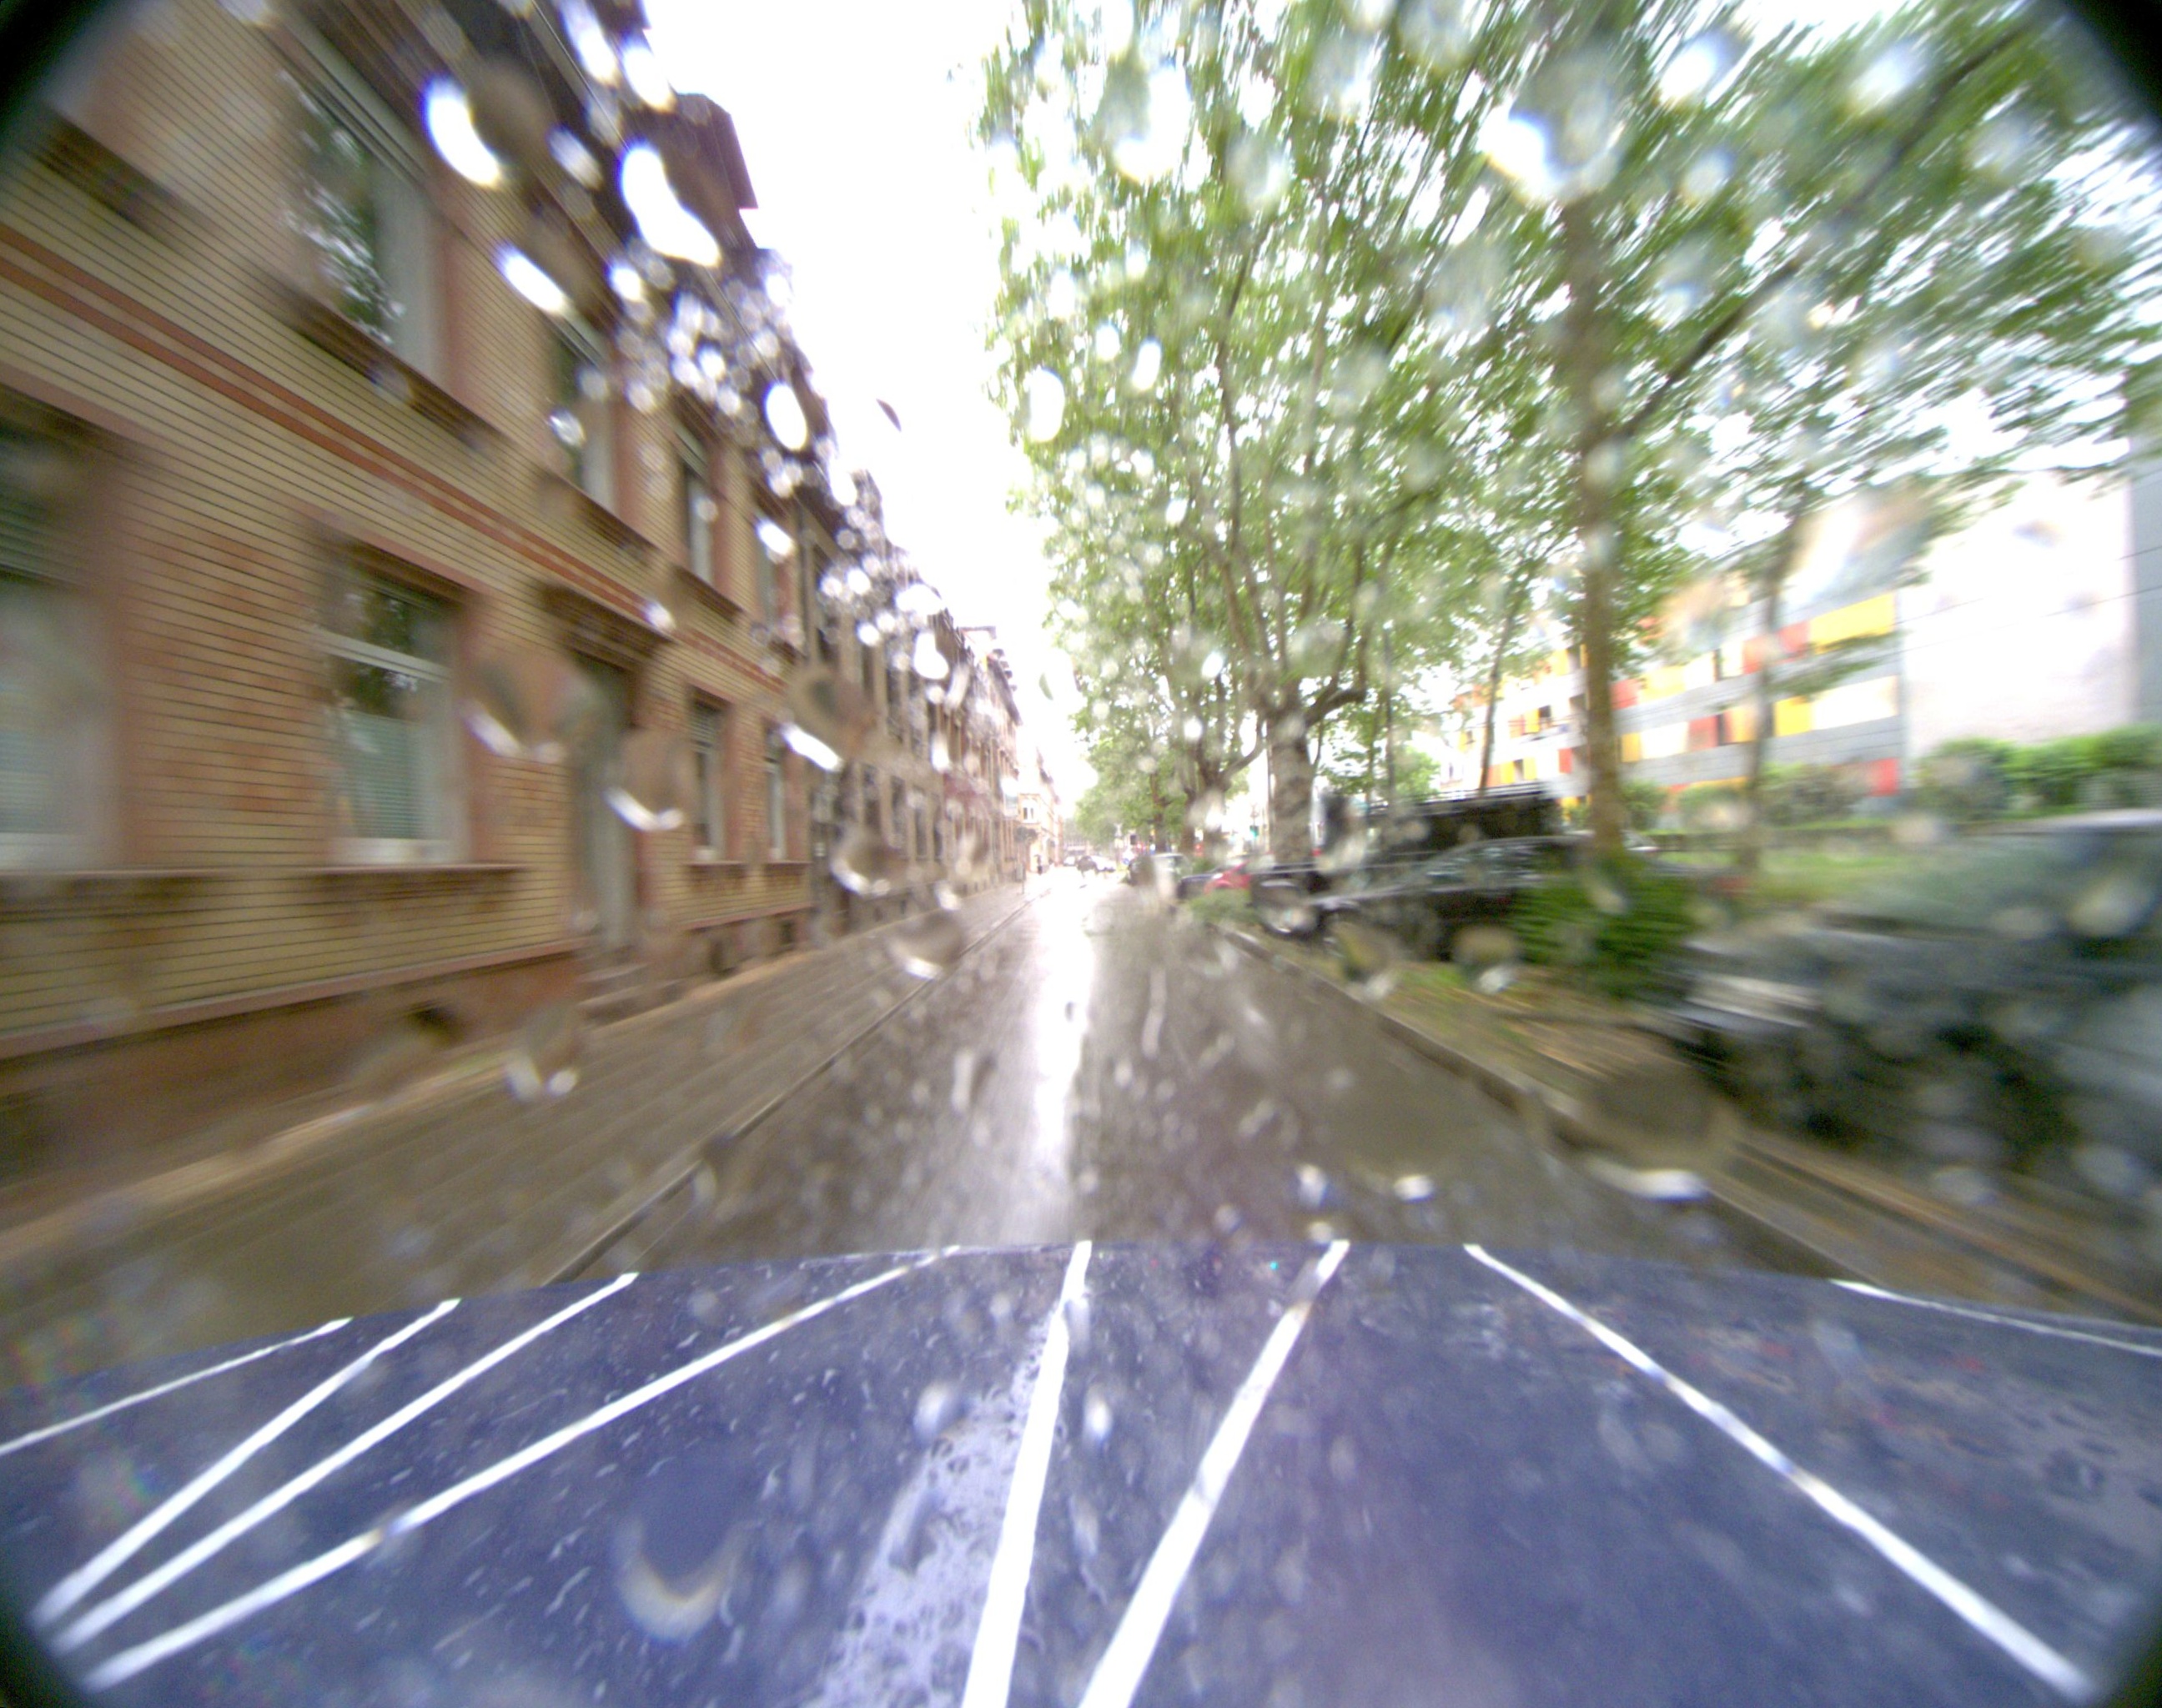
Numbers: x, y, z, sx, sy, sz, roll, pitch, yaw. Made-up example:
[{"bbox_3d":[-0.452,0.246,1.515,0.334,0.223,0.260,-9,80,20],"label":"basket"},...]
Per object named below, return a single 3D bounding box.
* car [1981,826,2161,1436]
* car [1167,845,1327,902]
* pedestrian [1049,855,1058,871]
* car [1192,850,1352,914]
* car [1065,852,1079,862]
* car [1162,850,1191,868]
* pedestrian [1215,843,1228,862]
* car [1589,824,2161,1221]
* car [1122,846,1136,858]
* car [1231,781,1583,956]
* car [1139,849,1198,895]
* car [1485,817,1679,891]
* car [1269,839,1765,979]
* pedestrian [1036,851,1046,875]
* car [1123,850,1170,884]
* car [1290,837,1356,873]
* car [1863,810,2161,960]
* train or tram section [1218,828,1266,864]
[{"bbox_3d":[4.374,0.603,0.748,4.056,1.528,1.838,-4,0,26],"label":"car"},{"bbox_3d":[4.670,0.542,21.368,4.037,1.426,1.784,-2,1,25],"label":"car"},{"bbox_3d":[-2.752,0.892,76.268,0.849,1.564,0.576,2,1,1],"label":"pedestrian"},{"bbox_3d":[4.742,0.700,18.874,3.494,1.428,1.784,-2,1,28],"label":"car"},{"bbox_3d":[-1.419,0.471,120.529,1.976,1.359,4.162,2,0,3],"label":"car"},{"bbox_3d":[7.974,0.437,63.824,1.838,1.411,4.000,-3,0,-1],"label":"car"},{"bbox_3d":[13.458,-0.155,72.910,0.938,1.790,1.206,-3,1,0],"label":"pedestrian"},{"bbox_3d":[4.642,0.618,3.494,3.504,1.459,1.644,-2,1,19],"label":"car"},{"bbox_3d":[7.765,-0.344,122.123,1.937,1.839,4.066,-3,0,1],"label":"car"},{"bbox_3d":[4.974,0.244,11.904,4.648,2.270,2.015,-2,1,30],"label":"car"},{"bbox_3d":[3.316,0.646,29.427,1.733,1.506,4.207,-4,0,0],"label":"car"},{"bbox_3d":[12.162,-0.005,18.838,1.909,1.525,4.215,-3,0,-1],"label":"car"},{"bbox_3d":[4.825,0.585,9.084,4.648,1.318,1.850,-2,1,28],"label":"car"},{"bbox_3d":[-3.208,0.705,60.933,0.787,1.903,0.929,0,1,0],"label":"pedestrian"},{"bbox_3d":[3.270,0.618,38.605,1.901,1.476,4.621,-4,0,0],"label":"car"},{"bbox_3d":[12.082,0.051,38.242,1.909,1.591,4.467,-3,0,1],"label":"car"},{"bbox_3d":[12.379,0.284,8.994,1.908,1.525,4.422,-3,0,6],"label":"car"},{"bbox_3d":[18.135,-0.907,86.238,2.907,3.621,11.550,-4,1,1],"label":"train or tram section"}]
